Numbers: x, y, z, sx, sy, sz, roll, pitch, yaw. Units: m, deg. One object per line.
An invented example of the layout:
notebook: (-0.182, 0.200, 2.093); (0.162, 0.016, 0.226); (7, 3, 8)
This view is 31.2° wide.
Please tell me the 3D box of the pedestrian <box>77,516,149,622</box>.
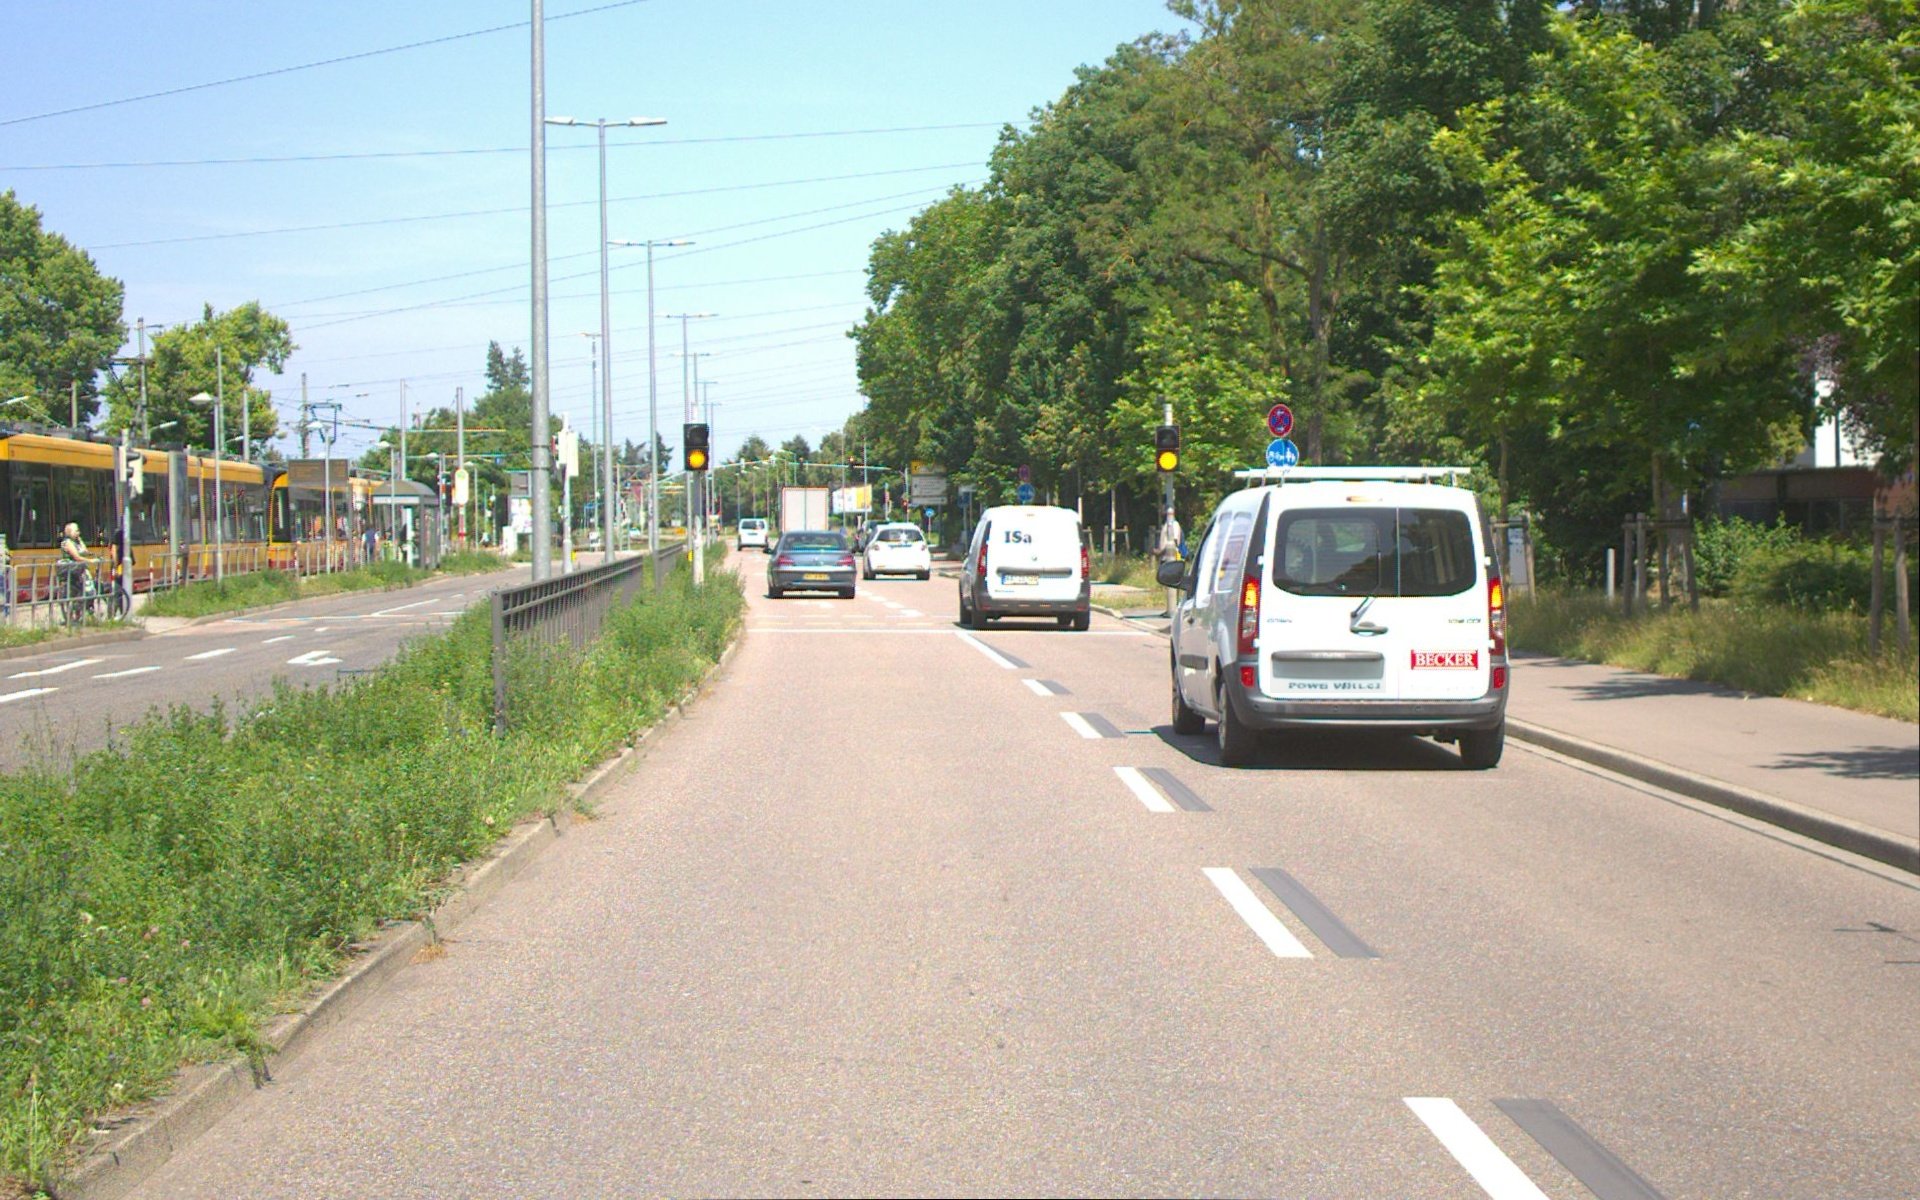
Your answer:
pedestrian: (-14.330, -0.530, 58.172); (0.959, 1.790, 0.704); (0, 1, 26)

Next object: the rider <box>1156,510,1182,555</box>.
rider: (5.936, -1.911, 97.846); (0.678, 1.277, 0.534); (0, 1, -4)

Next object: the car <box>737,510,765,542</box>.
car: (-12.769, -4.511, 210.013); (1.687, 1.891, 3.871); (0, 1, -4)

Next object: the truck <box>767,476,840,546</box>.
truck: (-8.899, -5.015, 194.109); (3.898, 3.799, 10.794); (0, 1, -4)

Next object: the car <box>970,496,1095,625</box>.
car: (1.034, -0.616, 50.872); (1.728, 1.807, 4.000); (1, 2, 0)

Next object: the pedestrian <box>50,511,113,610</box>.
pedestrian: (-14.433, -0.650, 56.500); (0.819, 1.623, 0.705); (0, 1, 2)

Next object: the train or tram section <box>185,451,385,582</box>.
train or tram section: (-20.960, -2.602, 108.728); (2.787, 3.655, 26.003); (0, 1, -4)

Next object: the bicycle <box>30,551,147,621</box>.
bicycle: (-14.322, -0.230, 56.485); (1.863, 1.153, 0.242); (0, 1, 2)

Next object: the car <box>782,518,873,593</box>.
car: (-2.761, -0.942, 71.018); (1.801, 1.481, 4.001); (0, 2, -3)

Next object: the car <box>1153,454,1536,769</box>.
car: (2.439, 0.022, 22.891); (1.824, 1.875, 4.456); (1, 1, -3)

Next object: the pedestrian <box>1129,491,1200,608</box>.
pedestrian: (3.268, -0.810, 54.949); (1.046, 1.844, 0.757); (1, 1, 9)

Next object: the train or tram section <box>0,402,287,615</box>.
train or tram section: (-19.012, -1.944, 77.009); (2.787, 3.655, 37.524); (0, 1, -4)

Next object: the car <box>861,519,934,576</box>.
car: (-1.747, -1.459, 94.553); (1.803, 1.534, 4.001); (0, 1, -4)
